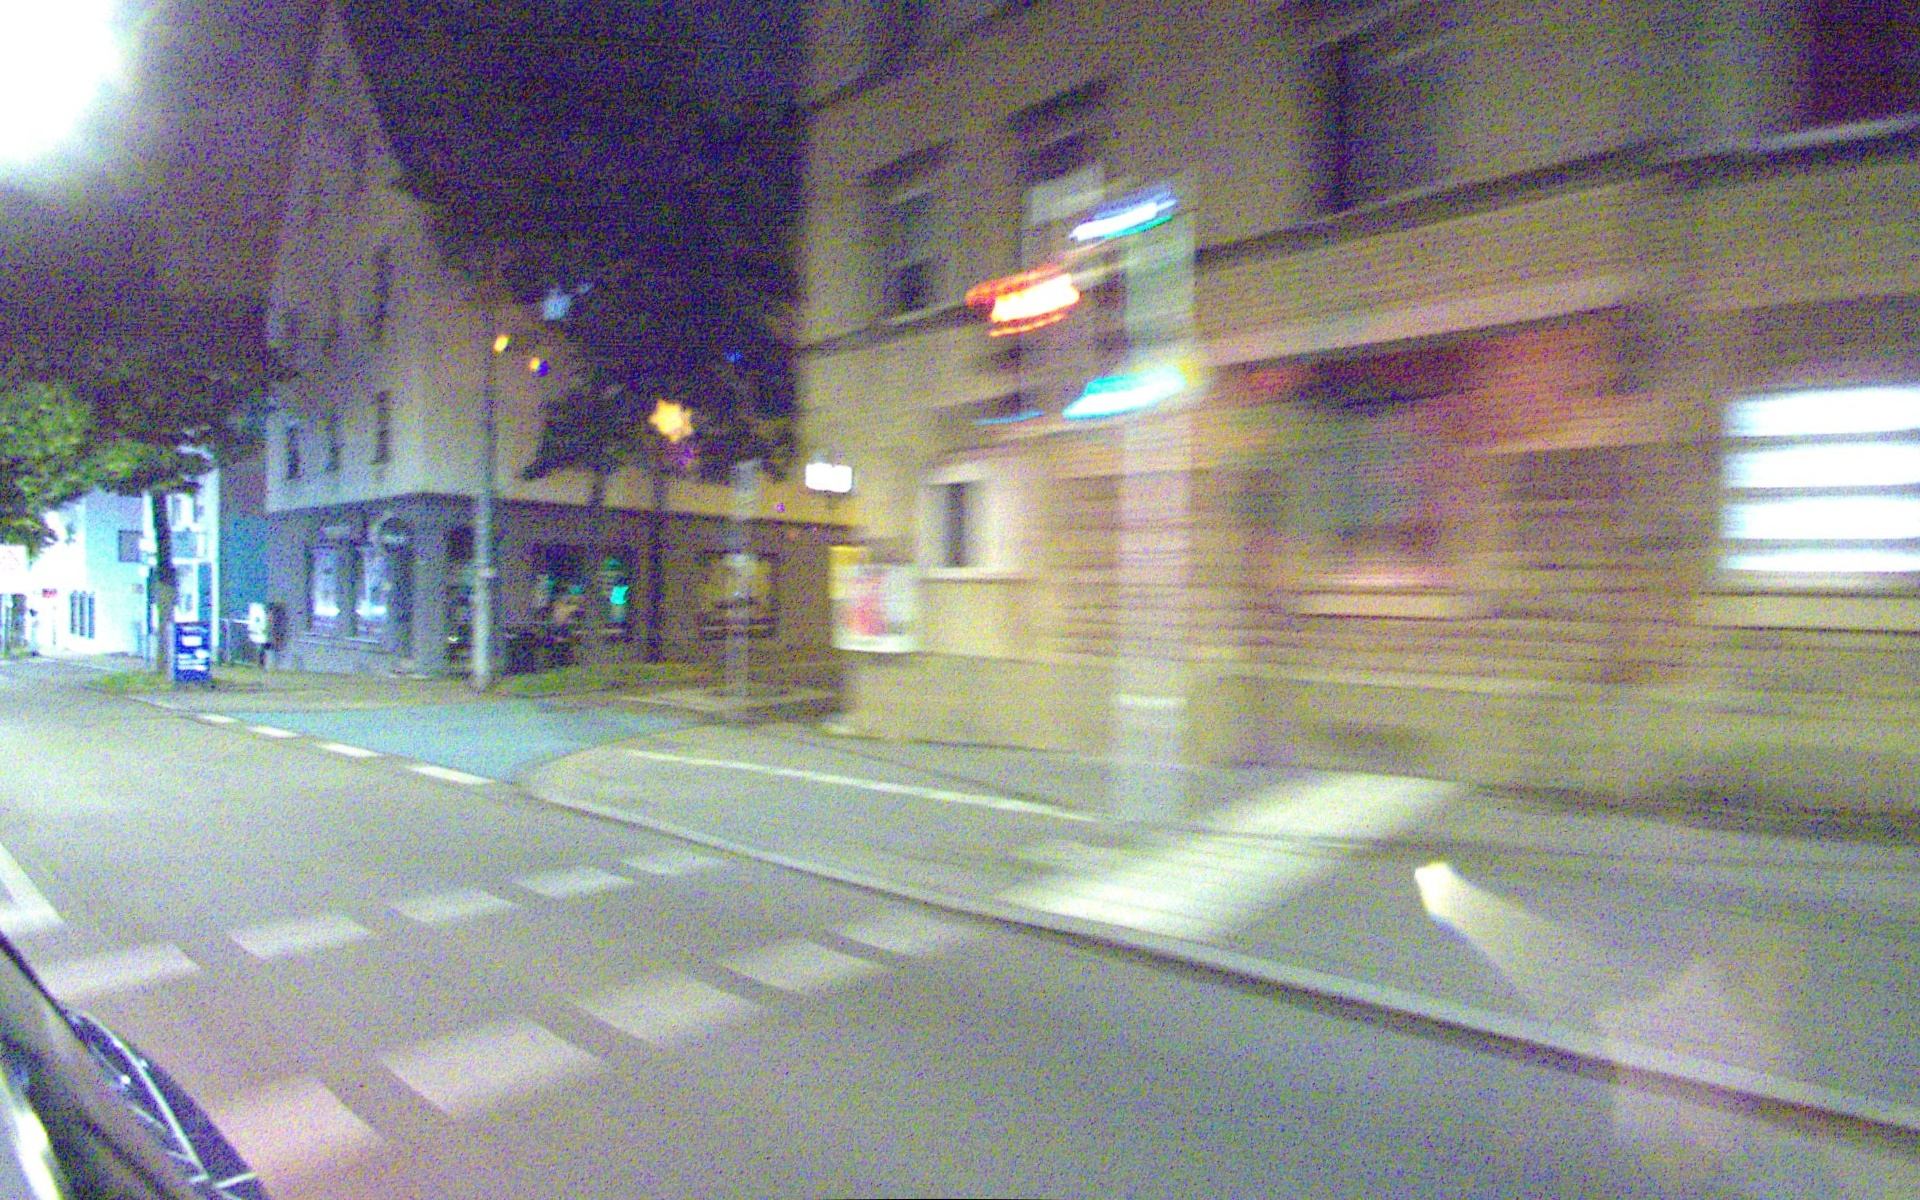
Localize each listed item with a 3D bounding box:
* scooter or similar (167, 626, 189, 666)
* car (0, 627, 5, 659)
[{"bbox_3d":[-25.324,1.485,32.768,1.335,1.235,0.328,-1,0,43],"label":"scooter or similar"},{"bbox_3d":[-46.378,2.032,47.555,4.288,1.497,1.709,-1,0,40],"label":"car"}]
